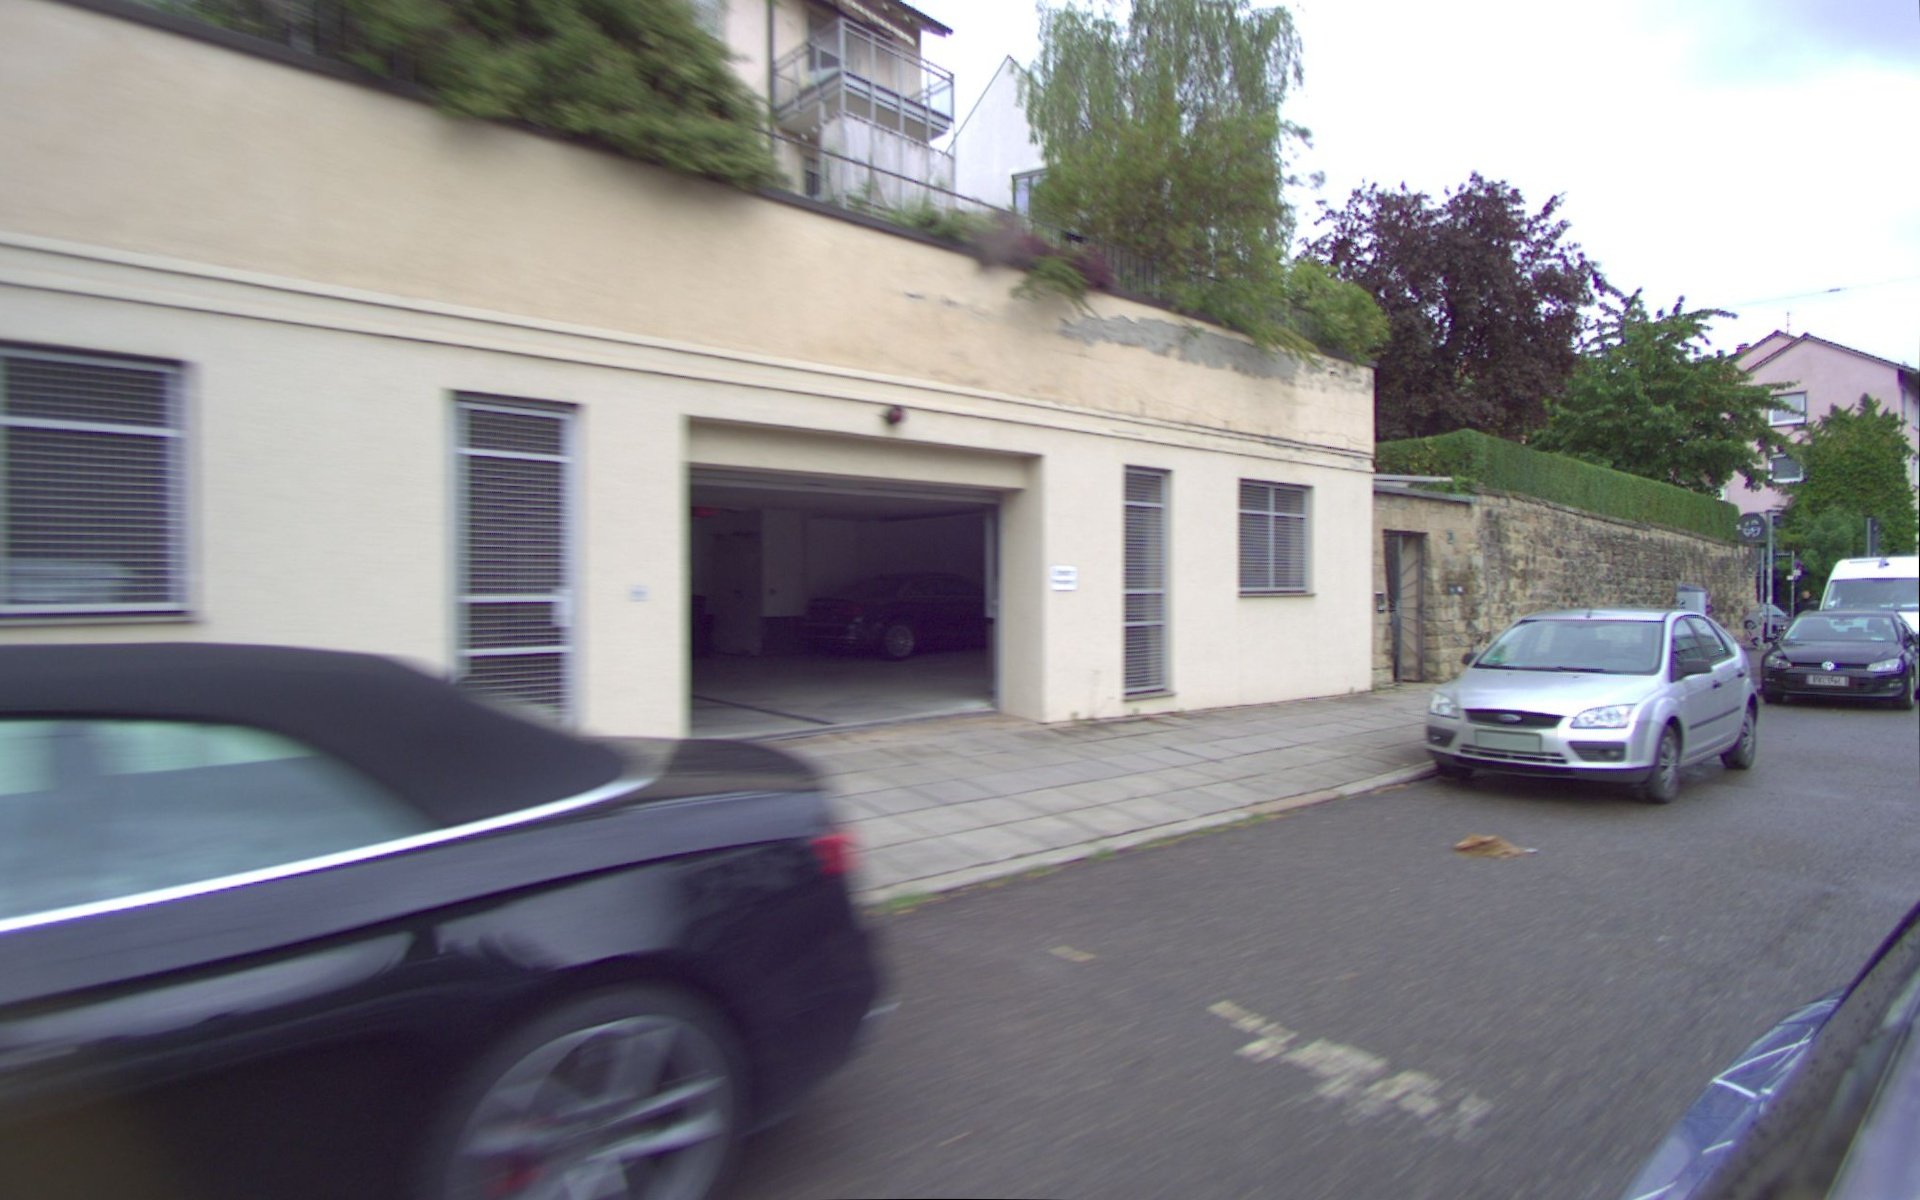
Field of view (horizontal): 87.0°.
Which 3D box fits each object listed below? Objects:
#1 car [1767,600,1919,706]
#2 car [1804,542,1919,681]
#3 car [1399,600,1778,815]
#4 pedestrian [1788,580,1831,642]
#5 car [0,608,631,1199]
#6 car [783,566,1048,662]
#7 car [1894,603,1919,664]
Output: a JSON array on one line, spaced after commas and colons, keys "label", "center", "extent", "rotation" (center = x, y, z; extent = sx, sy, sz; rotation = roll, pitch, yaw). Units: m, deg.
[{"label": "car", "center": [14.283, 0.760, 15.973], "extent": [4.161, 1.472, 1.691], "rotation": [1, -1, -41]}, {"label": "car", "center": [19.265, 0.234, 20.559], "extent": [5.971, 2.495, 2.209], "rotation": [1, -1, -40]}, {"label": "car", "center": [5.688, 0.763, 8.949], "extent": [4.161, 1.472, 1.691], "rotation": [1, -1, -41]}, {"label": "pedestrian", "center": [24.142, 0.308, 28.758], "extent": [0.889, 1.736, 0.725], "rotation": [1, 1, -39]}, {"label": "car", "center": [-2.627, 0.752, 1.579], "extent": [3.693, 1.472, 1.632], "rotation": [1, -1, -41]}, {"label": "car", "center": [-0.675, 0.158, 17.032], "extent": [4.129, 1.363, 1.890], "rotation": [-2, 2, -39]}, {"label": "car", "center": [24.579, 0.808, 24.945], "extent": [4.127, 1.439, 1.724], "rotation": [1, -1, -39]}]
